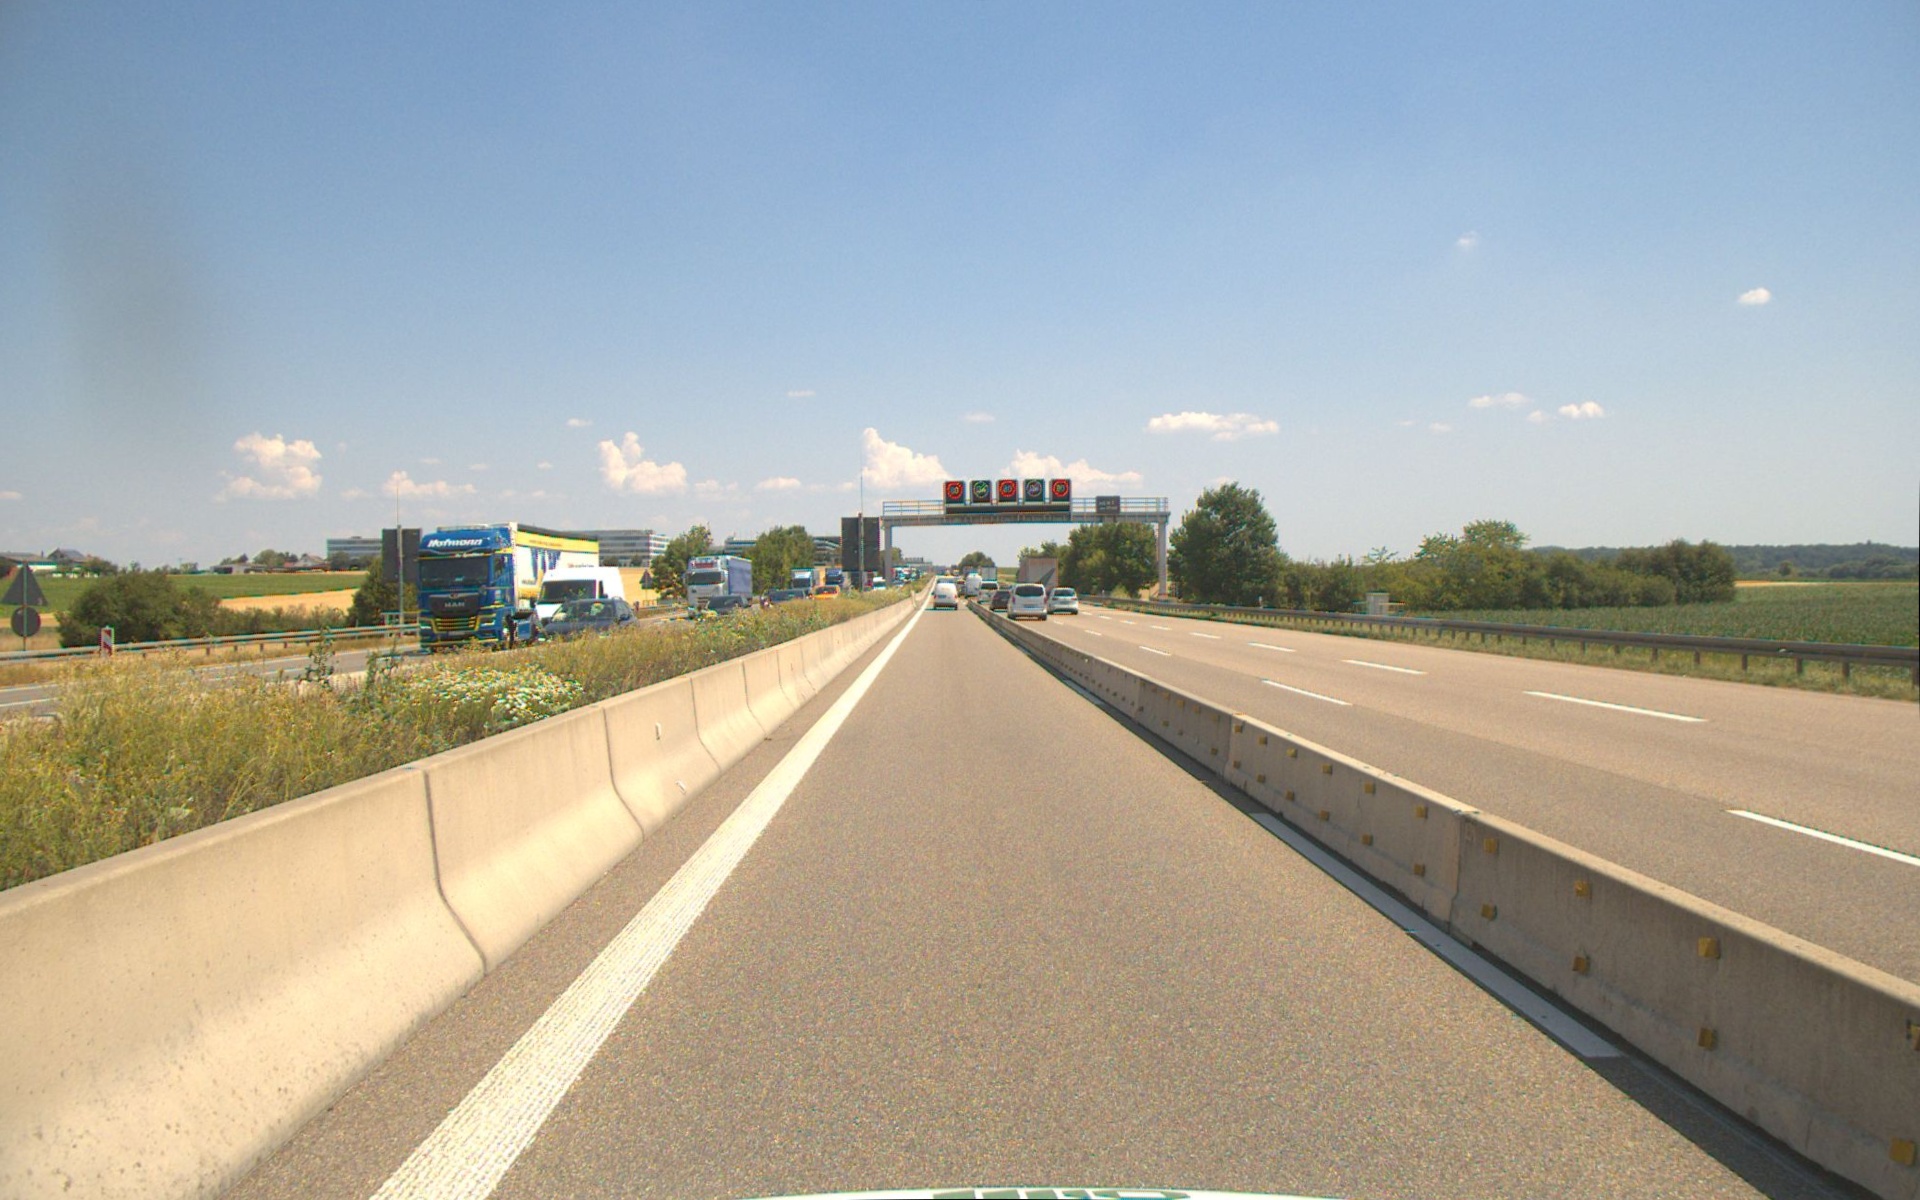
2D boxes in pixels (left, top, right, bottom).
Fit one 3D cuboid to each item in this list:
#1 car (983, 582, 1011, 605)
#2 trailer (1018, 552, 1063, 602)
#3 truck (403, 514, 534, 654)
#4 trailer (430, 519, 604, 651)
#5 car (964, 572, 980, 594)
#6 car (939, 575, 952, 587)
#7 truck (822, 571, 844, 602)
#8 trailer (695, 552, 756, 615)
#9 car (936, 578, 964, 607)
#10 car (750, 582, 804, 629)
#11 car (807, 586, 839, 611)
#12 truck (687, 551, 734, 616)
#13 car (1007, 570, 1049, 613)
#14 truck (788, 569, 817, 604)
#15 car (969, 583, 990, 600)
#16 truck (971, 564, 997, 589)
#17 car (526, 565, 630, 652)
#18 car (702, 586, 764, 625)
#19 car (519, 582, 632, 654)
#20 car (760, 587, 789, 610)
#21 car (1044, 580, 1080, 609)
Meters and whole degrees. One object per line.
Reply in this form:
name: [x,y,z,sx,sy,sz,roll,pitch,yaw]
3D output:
car: [2.470,-0.421,111.713,1.737,1.472,3.999,0,0,-1]
trailer: [6.727,-1.857,139.258,3.211,4.036,9.110,0,0,-1]
truck: [-15.632,-0.513,52.966,2.753,4.200,4.840,-1,0,-1]
trailer: [-15.798,-0.559,60.432,2.753,4.200,14.127,-1,1,-1]
car: [1.405,-1.935,189.037,1.737,2.434,3.999,0,0,-1]
car: [-2.164,-2.880,251.739,1.953,1.868,3.999,0,0,-1]
truck: [-18.078,-1.917,235.257,2.540,4.312,4.853,-3,0,-1]
trailer: [-16.459,-1.189,117.206,2.337,4.158,14.096,-1,1,0]
car: [-0.706,-0.519,116.470,1.953,2.049,3.999,0,0,-1]
car: [-8.477,0.222,76.834,1.953,2.049,4.685,0,1,0]
car: [-9.207,-0.095,111.673,1.856,1.606,4.935,1,-1,-1]
truck: [-16.401,-1.077,108.884,2.362,4.158,4.659,-1,0,0]
car: [3.503,-0.419,86.082,1.953,2.157,3.999,0,0,-1]
truck: [-17.277,-1.455,181.252,2.643,3.650,4.000,-2,1,0]
car: [1.703,-0.717,145.824,1.737,1.472,3.999,0,0,-1]
truck: [3.832,-3.754,264.555,3.738,3.973,9.578,-1,1,-1]
car: [-11.934,0.231,52.085,2.005,2.545,5.811,-1,1,-1]
car: [-8.406,0.230,61.601,1.743,1.358,4.928,1,-1,-1]
car: [-8.595,0.365,37.318,1.565,1.494,4.532,-1,1,-1]
car: [-12.797,-0.140,114.239,1.555,1.534,4.228,-1,1,0]
car: [6.374,-0.333,104.117,1.953,1.825,3.999,0,0,-1]
